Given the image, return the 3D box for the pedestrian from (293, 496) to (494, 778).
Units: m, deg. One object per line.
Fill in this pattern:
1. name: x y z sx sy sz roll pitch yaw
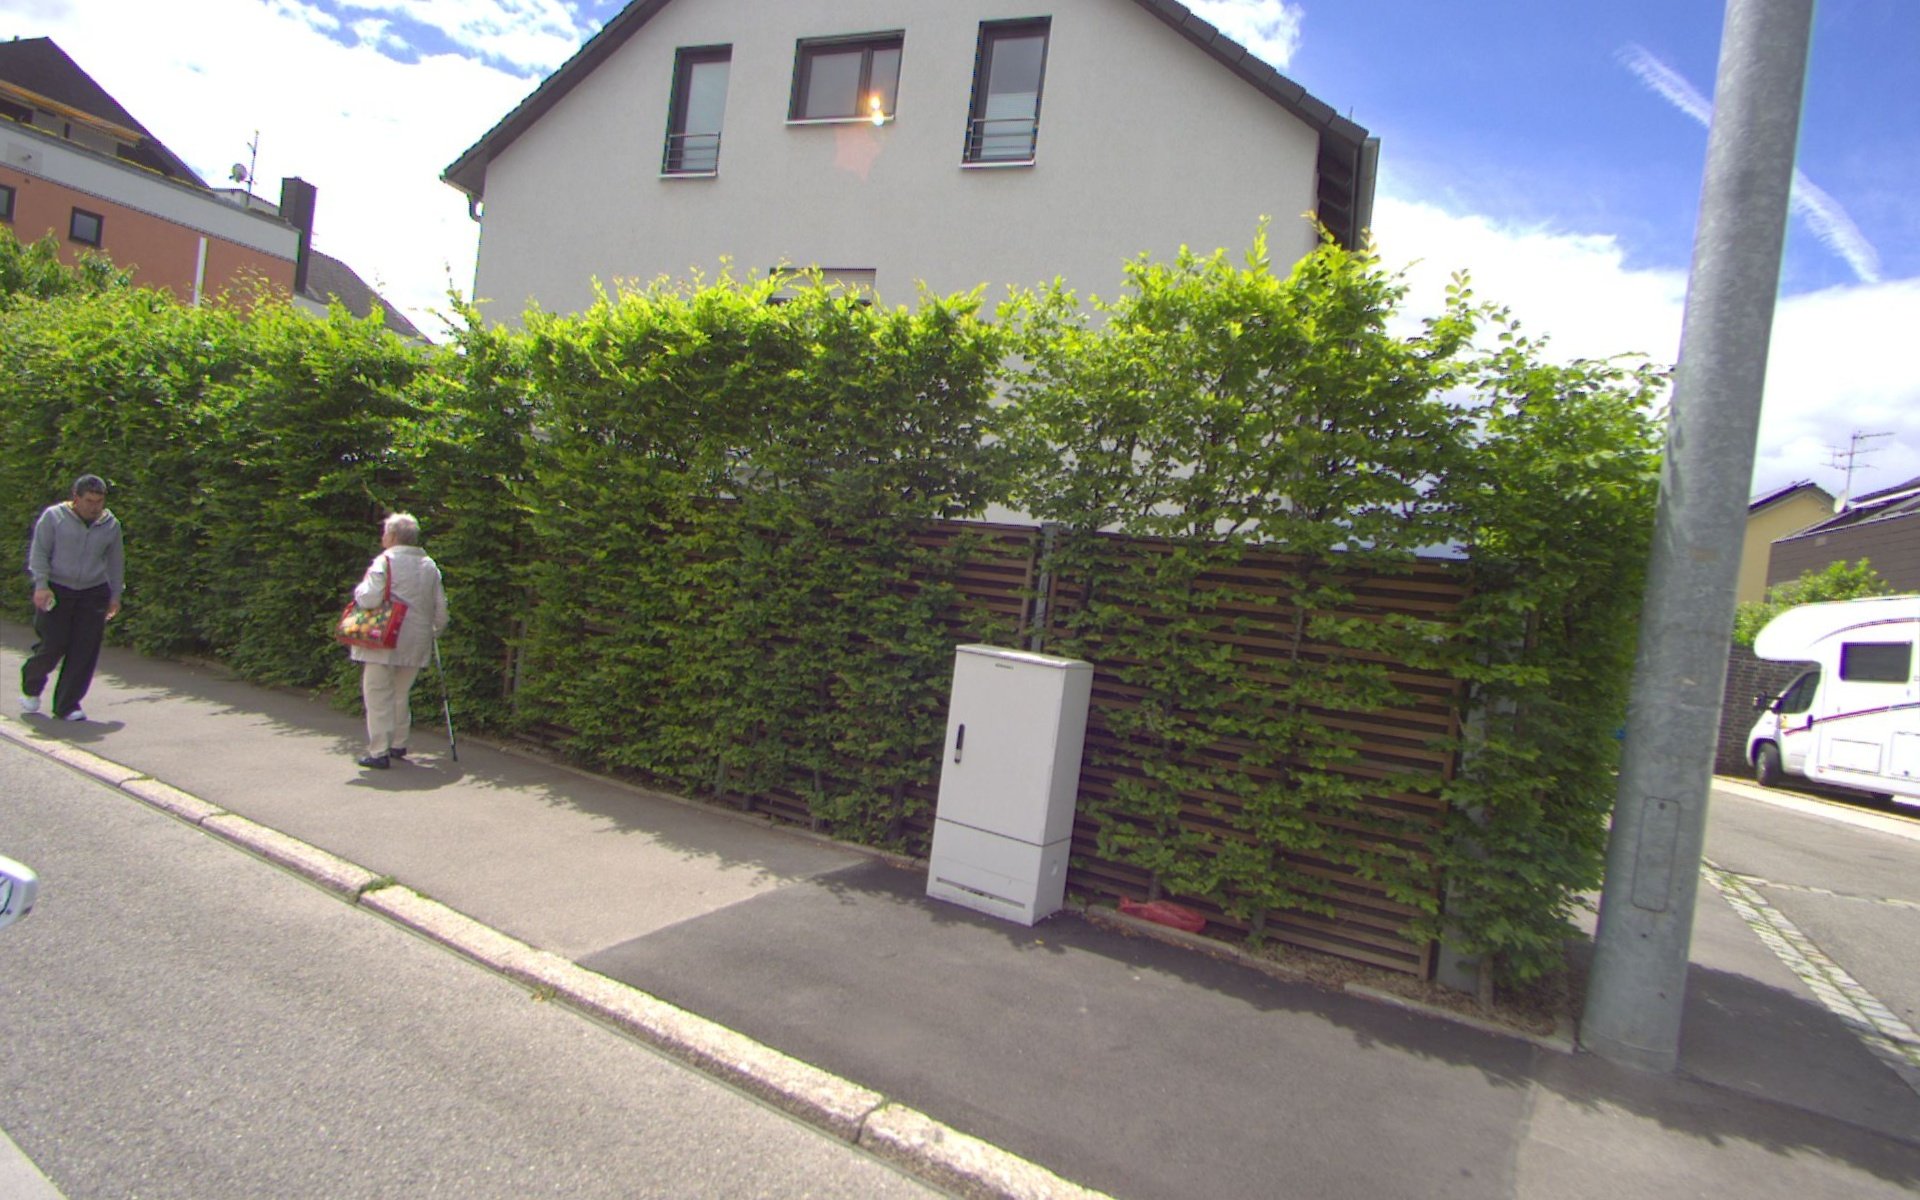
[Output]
1. pedestrian: -3.607 0.224 6.431 0.642 1.638 0.799 7 2 31

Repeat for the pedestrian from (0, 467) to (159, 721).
1. pedestrian: -6.139 -0.051 6.967 0.822 1.626 0.602 7 2 32

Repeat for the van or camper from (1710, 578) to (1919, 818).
1. van or camper: 14.536 1.488 13.923 2.373 3.339 8.697 7 -2 7
